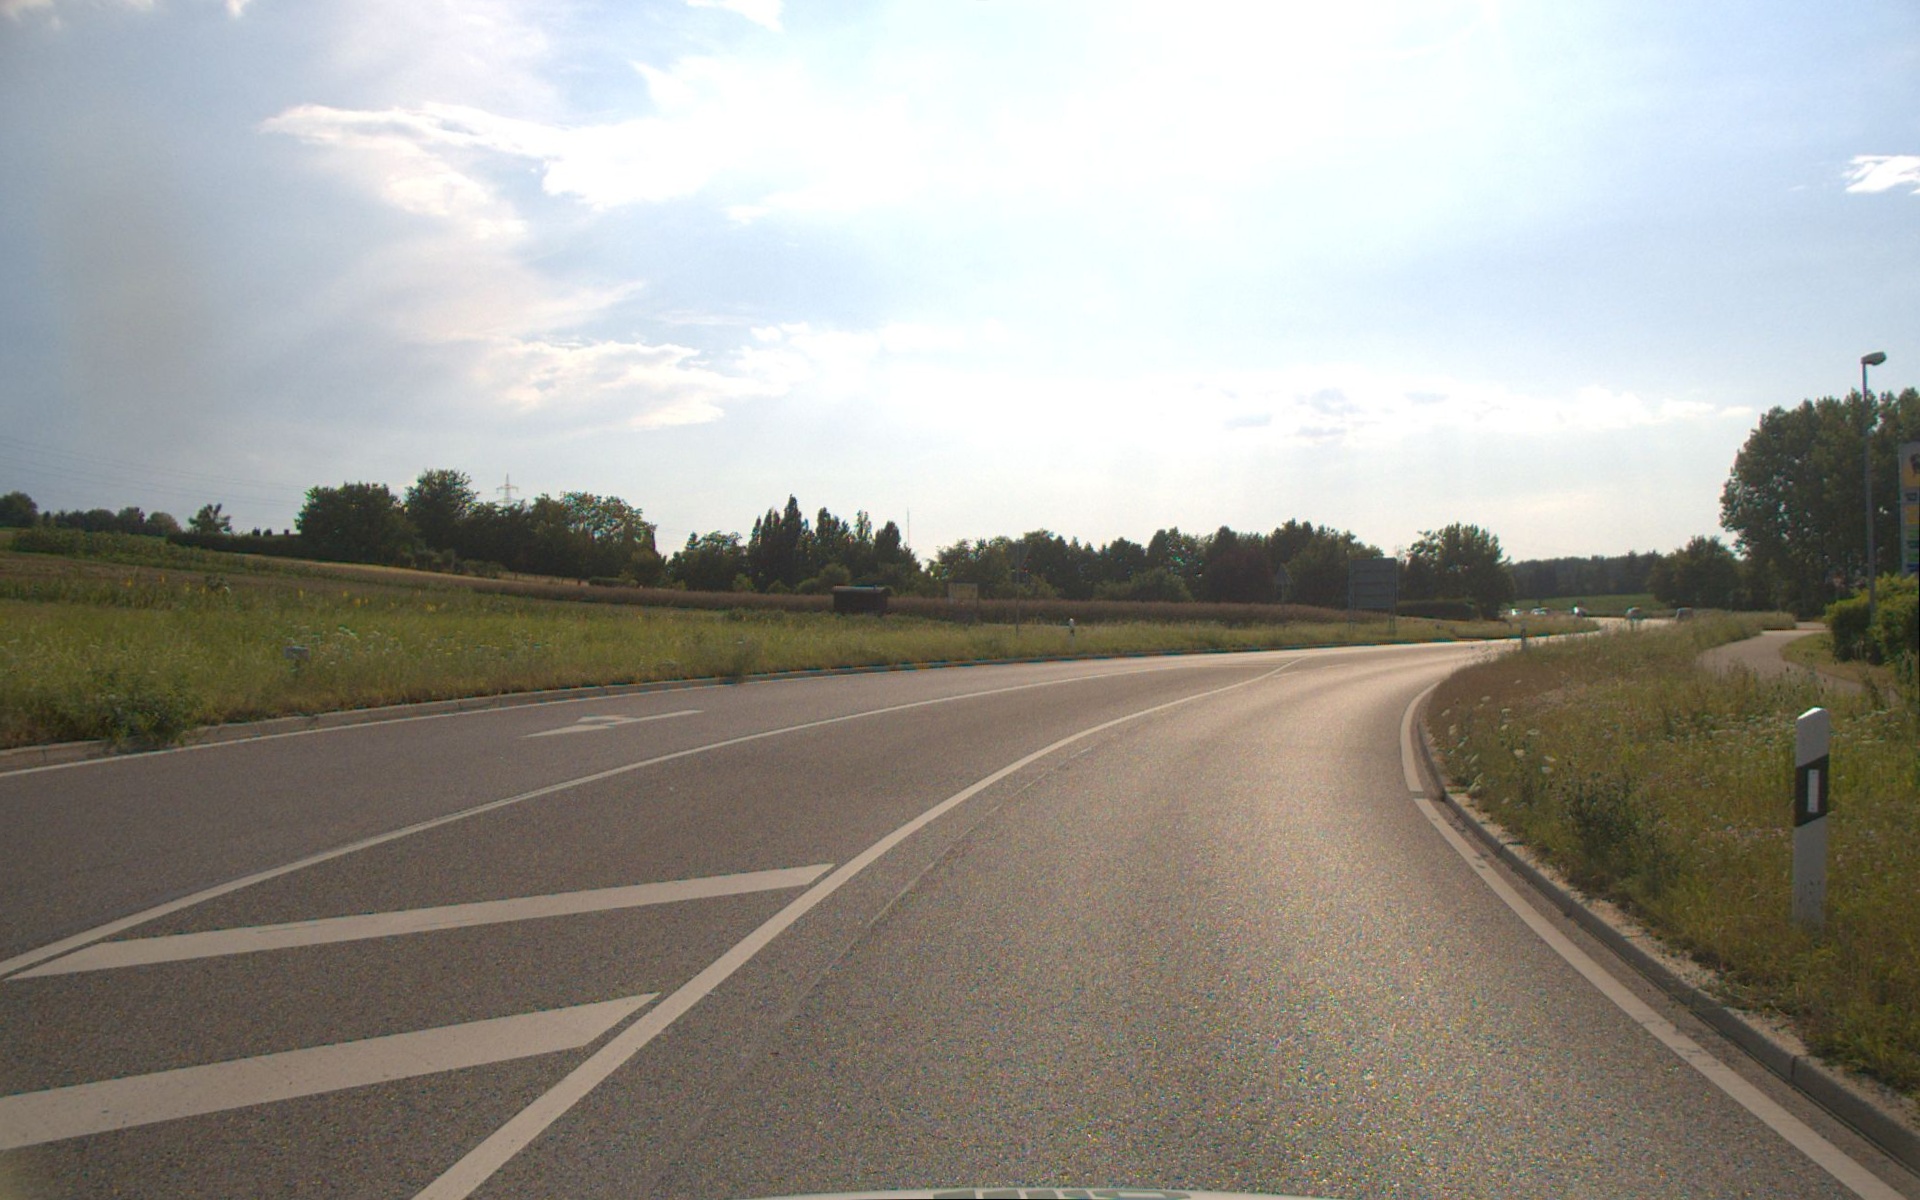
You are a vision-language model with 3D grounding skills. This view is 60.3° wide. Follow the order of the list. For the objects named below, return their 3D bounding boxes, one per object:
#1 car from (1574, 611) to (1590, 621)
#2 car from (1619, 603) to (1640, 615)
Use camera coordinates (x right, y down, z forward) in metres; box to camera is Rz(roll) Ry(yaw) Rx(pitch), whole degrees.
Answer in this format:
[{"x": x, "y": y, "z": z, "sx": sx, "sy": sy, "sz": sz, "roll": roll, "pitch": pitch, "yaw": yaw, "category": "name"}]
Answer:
[{"x": 92.481, "y": 2.371, "z": 245.928, "sx": 1.811, "sy": 1.432, "sz": 3.377, "roll": 2, "pitch": -1, "yaw": 15, "category": "car"}, {"x": 84.669, "y": 1.159, "z": 209.131, "sx": 1.811, "sy": 1.432, "sz": 3.647, "roll": 2, "pitch": -1, "yaw": 13, "category": "car"}]
